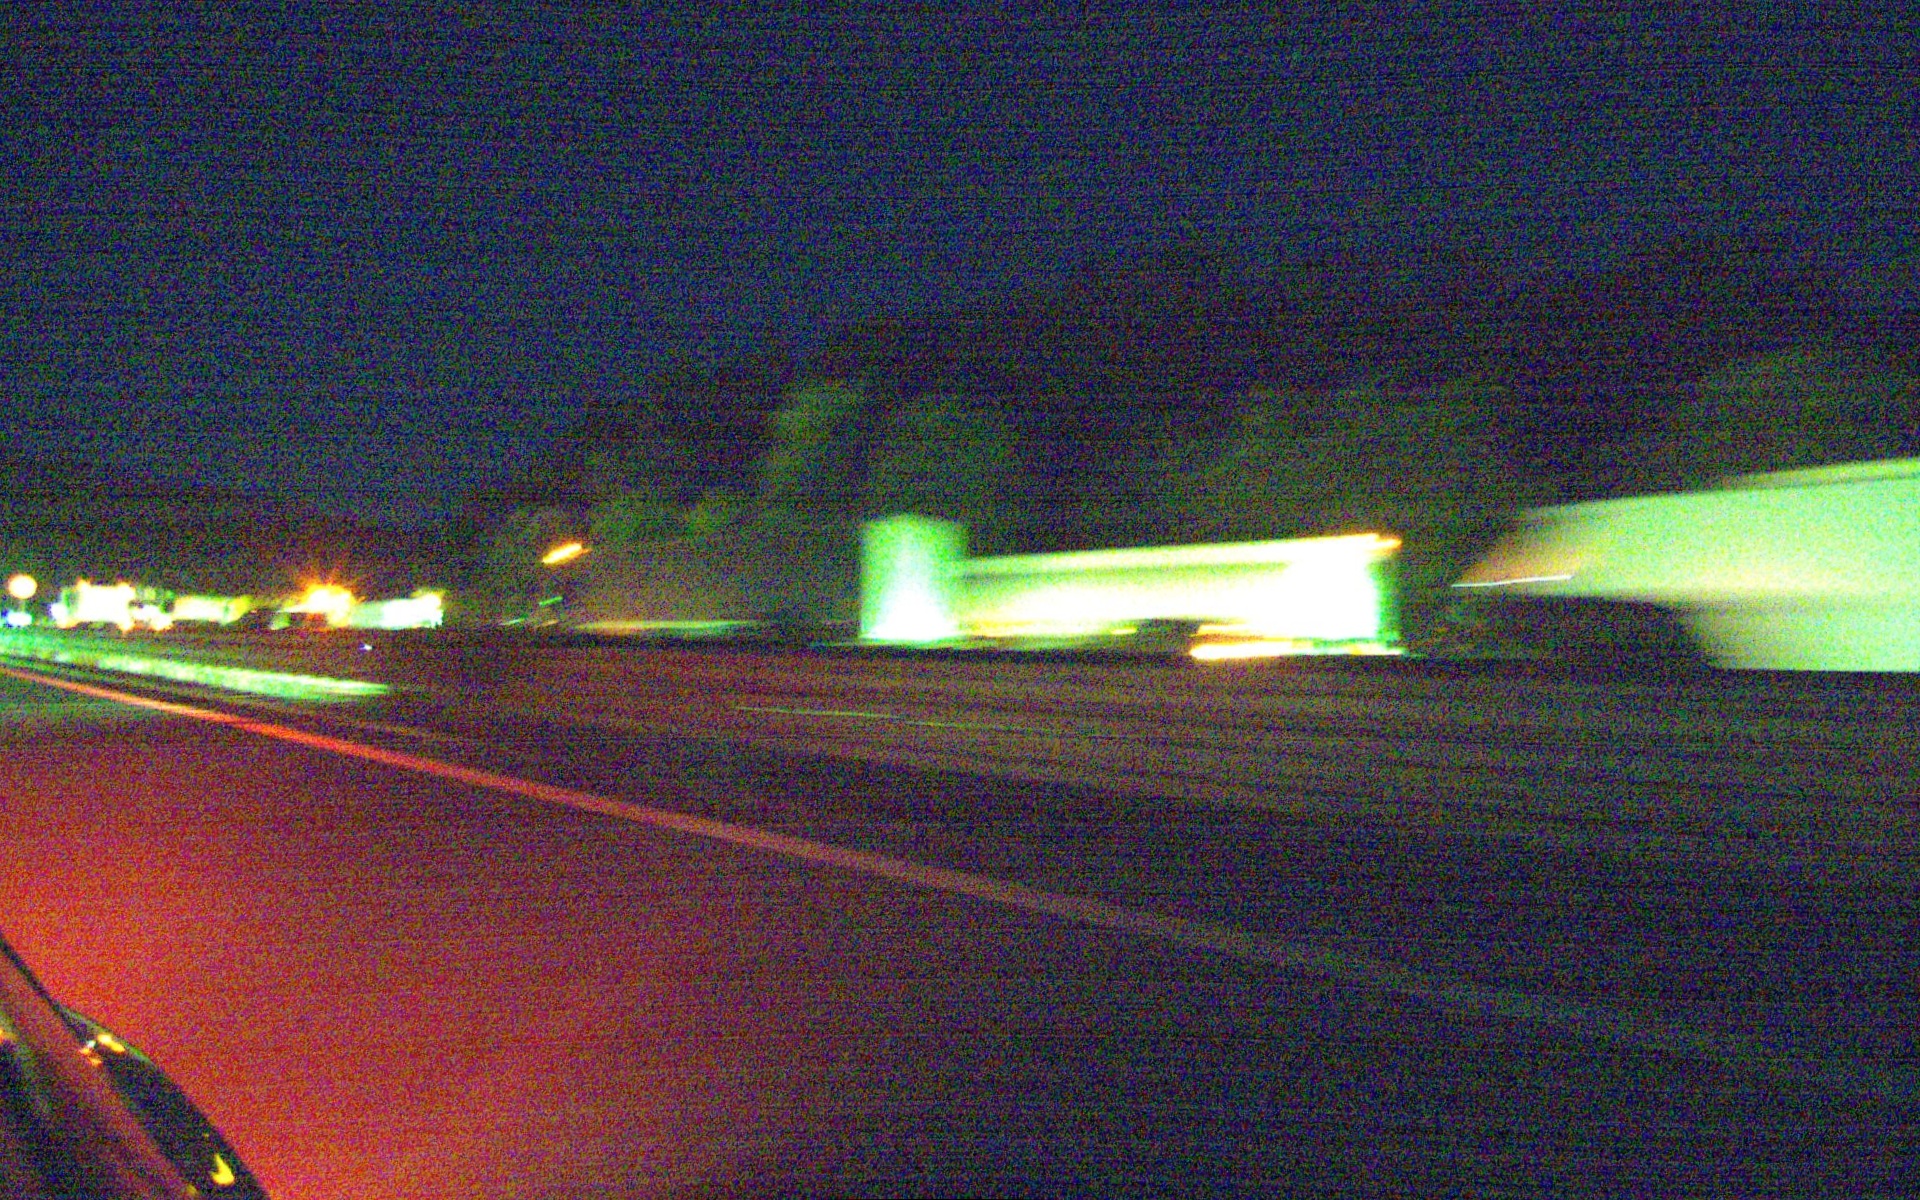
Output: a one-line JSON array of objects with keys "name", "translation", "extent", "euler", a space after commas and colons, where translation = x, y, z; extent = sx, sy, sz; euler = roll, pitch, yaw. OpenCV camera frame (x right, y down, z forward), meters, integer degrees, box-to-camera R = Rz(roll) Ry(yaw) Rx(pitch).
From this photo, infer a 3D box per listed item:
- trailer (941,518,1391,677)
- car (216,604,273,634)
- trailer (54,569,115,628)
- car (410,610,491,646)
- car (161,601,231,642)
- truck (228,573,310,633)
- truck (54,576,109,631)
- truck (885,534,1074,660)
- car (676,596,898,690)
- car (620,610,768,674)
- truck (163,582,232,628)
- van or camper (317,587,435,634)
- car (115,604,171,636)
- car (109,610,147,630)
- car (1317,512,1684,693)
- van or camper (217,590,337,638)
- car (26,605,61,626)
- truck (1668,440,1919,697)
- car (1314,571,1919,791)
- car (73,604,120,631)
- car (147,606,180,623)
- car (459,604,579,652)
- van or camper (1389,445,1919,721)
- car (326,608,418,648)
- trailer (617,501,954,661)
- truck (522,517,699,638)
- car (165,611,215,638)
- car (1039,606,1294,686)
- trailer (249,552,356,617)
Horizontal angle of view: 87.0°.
[{"name": "trailer", "translation": [4.512, -0.083, 25.069], "extent": [11.170, 3.235, 2.370], "euler": [0, 0, 40]}, {"name": "car", "translation": [-33.496, 0.864, 47.350], "extent": [4.002, 1.364, 1.552], "euler": [0, 0, 45]}, {"name": "trailer", "translation": [-65.778, -0.234, 75.891], "extent": [3.053, 4.118, 12.464], "euler": [-2, 2, -42]}, {"name": "car", "translation": [-20.521, 1.092, 40.727], "extent": [4.239, 1.364, 1.553], "euler": [0, 0, 43]}, {"name": "car", "translation": [-29.579, 0.800, 39.137], "extent": [4.002, 1.482, 1.639], "euler": [0, 0, 45]}, {"name": "truck", "translation": [-39.756, 0.094, 58.176], "extent": [5.796, 3.243, 2.615], "euler": [1, 2, 43]}, {"name": "truck", "translation": [-70.537, 0.174, 81.217], "extent": [3.071, 4.127, 7.084], "euler": [-2, 2, -43]}, {"name": "truck", "translation": [0.488, -0.093, 28.366], "extent": [4.902, 3.235, 2.370], "euler": [0, 0, 39]}, {"name": "car", "translation": [-2.935, 0.628, 16.608], "extent": [4.001, 1.364, 1.553], "euler": [0, 0, 44]}, {"name": "car", "translation": [-6.316, 0.926, 23.797], "extent": [4.002, 1.364, 1.552], "euler": [0, 0, 45]}, {"name": "truck", "translation": [-53.043, 0.356, 70.333], "extent": [8.173, 2.981, 2.529], "euler": [0, -1, 44]}, {"name": "van or camper", "translation": [-27.144, 0.466, 46.870], "extent": [7.633, 2.029, 2.166], "euler": [0, 0, 39]}, {"name": "car", "translation": [-36.679, 0.852, 45.402], "extent": [4.002, 1.364, 1.552], "euler": [0, 0, 45]}, {"name": "car", "translation": [-55.755, 1.321, 67.822], "extent": [4.163, 1.325, 1.552], "euler": [0, 0, 45]}, {"name": "car", "translation": [7.037, -0.023, 13.343], "extent": [3.996, 2.028, 1.974], "euler": [1, 2, 39]}, {"name": "van or camper", "translation": [-21.383, 0.416, 31.583], "extent": [5.349, 1.364, 1.801], "euler": [0, 0, 41]}, {"name": "car", "translation": [-61.387, 1.001, 67.778], "extent": [4.002, 1.364, 1.552], "euler": [0, 0, 45]}, {"name": "truck", "translation": [15.269, -0.452, 15.314], "extent": [7.258, 3.703, 2.853], "euler": [0, -1, 40]}, {"name": "car", "translation": [5.086, 0.514, 8.070], "extent": [3.997, 1.364, 1.554], "euler": [0, 0, 41]}, {"name": "car", "translation": [-45.181, 0.900, 52.916], "extent": [4.002, 1.364, 1.552], "euler": [0, 0, 45]}, {"name": "car", "translation": [-62.847, 1.155, 79.837], "extent": [4.163, 1.325, 1.552], "euler": [0, 0, 45]}, {"name": "car", "translation": [-13.341, 0.793, 30.515], "extent": [4.239, 1.364, 1.777], "euler": [0, 0, 43]}, {"name": "van or camper", "translation": [10.398, -0.194, 14.595], "extent": [7.389, 3.297, 2.407], "euler": [0, 0, 41]}, {"name": "car", "translation": [-21.613, 0.999, 37.121], "extent": [4.239, 1.364, 1.777], "euler": [0, 0, 43]}, {"name": "trailer", "translation": [-5.201, -0.446, 27.594], "extent": [11.170, 3.654, 2.370], "euler": [0, 0, 40]}, {"name": "truck", "translation": [-11.423, -0.632, 32.759], "extent": [6.720, 3.540, 2.378], "euler": [-1, 0, 41]}, {"name": "car", "translation": [-39.914, 1.244, 52.432], "extent": [4.002, 1.364, 1.552], "euler": [0, 0, 45]}, {"name": "car", "translation": [3.859, 0.804, 19.472], "extent": [4.638, 1.364, 1.554], "euler": [0, 0, 40]}, {"name": "trailer", "translation": [-34.884, -0.854, 53.512], "extent": [9.004, 3.199, 2.578], "euler": [1, 2, 43]}]
